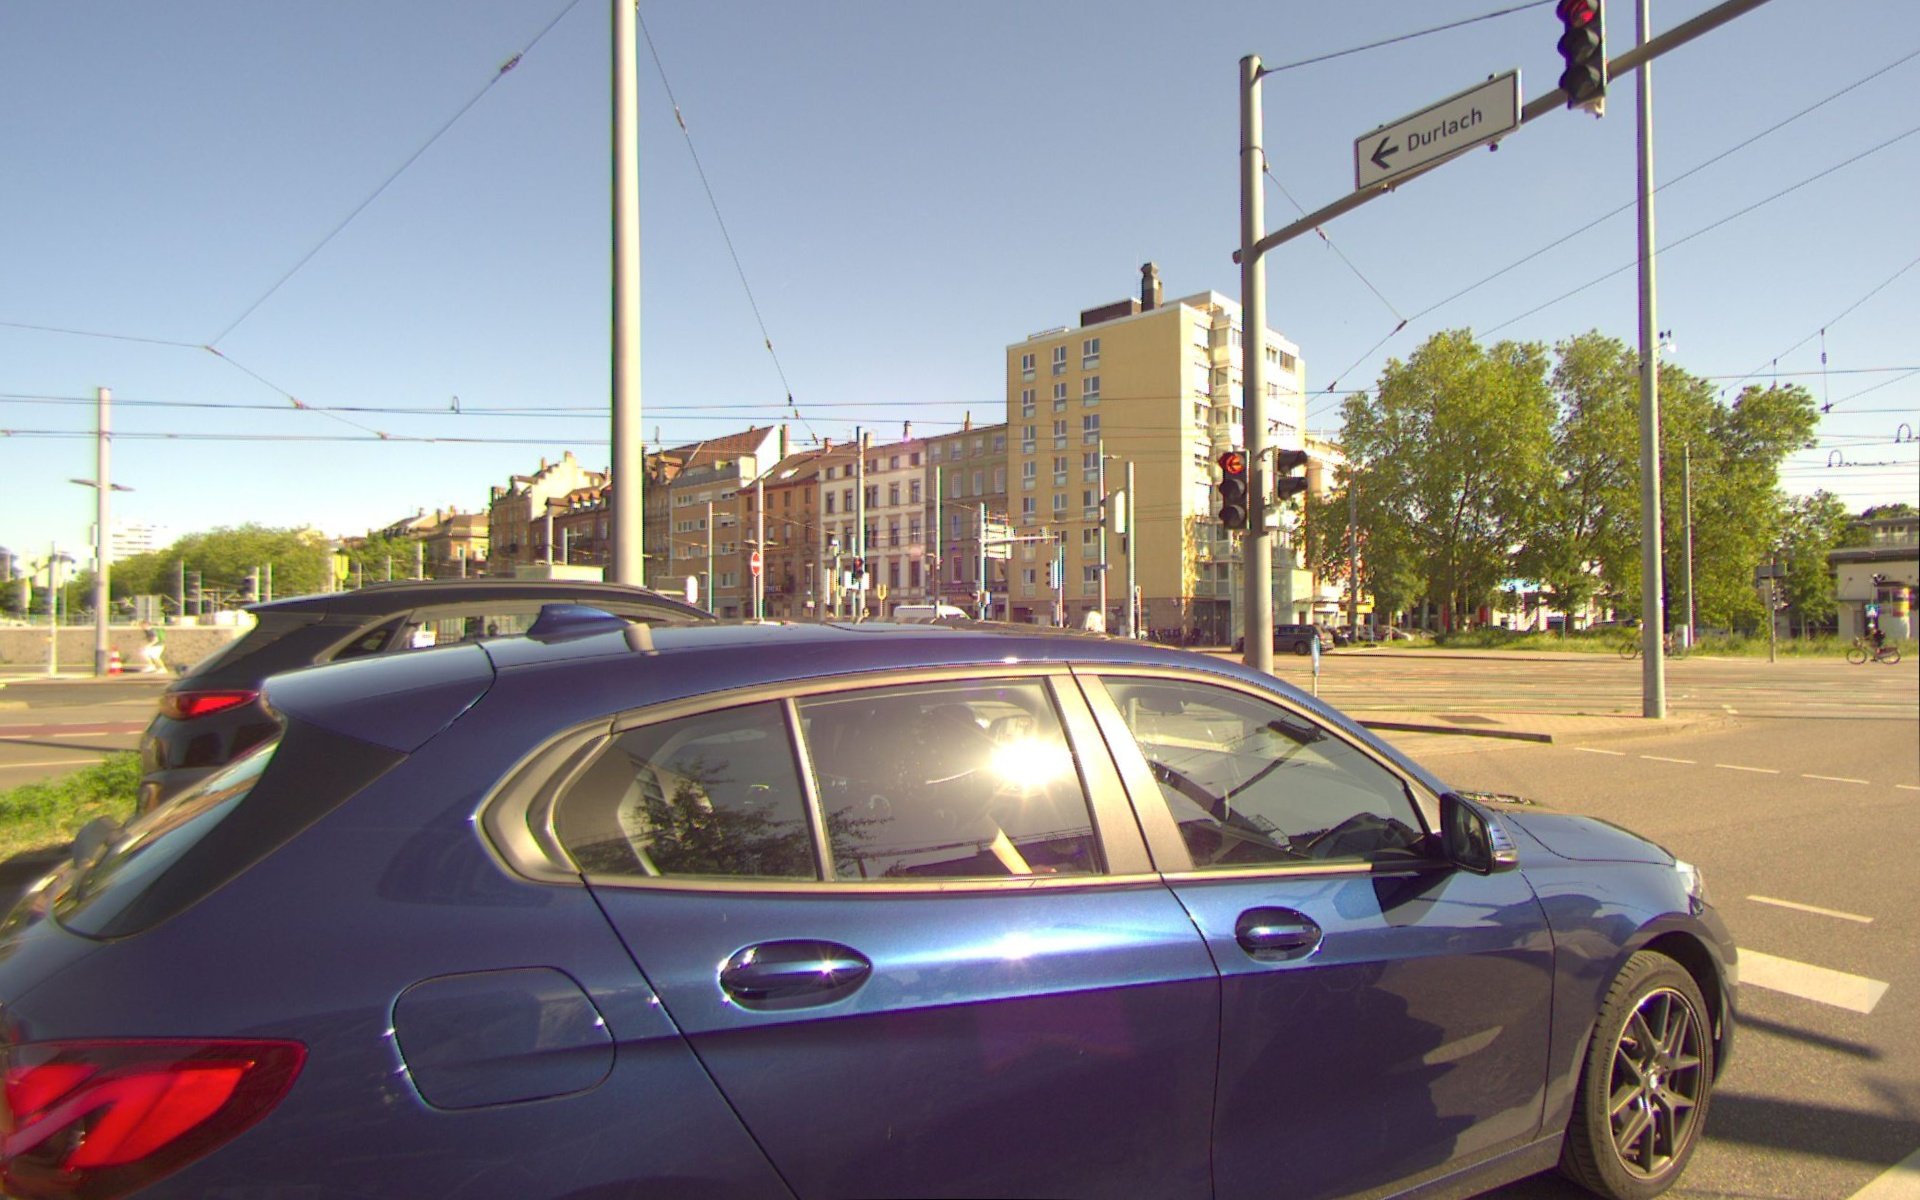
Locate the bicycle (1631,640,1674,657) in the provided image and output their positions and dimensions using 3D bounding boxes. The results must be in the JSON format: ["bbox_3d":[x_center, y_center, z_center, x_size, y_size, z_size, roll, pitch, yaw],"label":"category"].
[{"bbox_3d":[31.919,2.221,46.309,1.610,0.727,0.422,-1,-2,41],"label":"bicycle"}]

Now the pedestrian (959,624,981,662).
[{"bbox_3d":[0.440,1.862,43.659,0.669,1.593,0.740,1,-2,-45],"label":"pedestrian"}]

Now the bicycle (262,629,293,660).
[{"bbox_3d":[-26.809,1.746,39.475,0.461,1.189,1.252,0,-1,-6],"label":"bicycle"}]

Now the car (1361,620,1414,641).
[{"bbox_3d":[35.087,2.521,82.408,3.691,1.684,1.586,-1,-2,42],"label":"car"}]

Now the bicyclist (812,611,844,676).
[{"bbox_3d":[-3.453,1.126,26.284,0.668,1.676,0.781,0,-1,-20],"label":"bicyclist"}]

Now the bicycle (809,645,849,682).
[{"bbox_3d":[-3.419,1.633,26.154,0.668,0.890,1.890,0,-1,-19],"label":"bicycle"}]

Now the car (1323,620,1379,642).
[{"bbox_3d":[30.097,2.398,77.377,3.691,1.684,1.586,-1,-2,42],"label":"car"}]

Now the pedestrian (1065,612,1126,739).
[{"bbox_3d":[1.719,0.944,12.736,0.746,1.575,0.358,0,-1,8],"label":"pedestrian"}]

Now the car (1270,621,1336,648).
[{"bbox_3d":[21.797,2.179,63.874,3.691,1.684,1.586,-1,-2,42],"label":"car"}]

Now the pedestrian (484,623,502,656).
[{"bbox_3d":[-24.212,2.045,52.117,0.672,1.735,0.793,1,-1,-38],"label":"pedestrian"}]

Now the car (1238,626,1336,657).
[{"bbox_3d":[15.783,1.987,48.591,4.163,1.419,1.849,-1,-2,41],"label":"car"}]

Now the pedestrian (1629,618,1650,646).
[{"bbox_3d":[30.786,1.450,45.496,0.738,1.220,0.422,-1,-1,38],"label":"pedestrian"}]

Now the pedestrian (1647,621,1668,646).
[{"bbox_3d":[32.063,1.550,46.195,0.739,1.142,0.422,-1,-1,41],"label":"pedestrian"}]

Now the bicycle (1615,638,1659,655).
[{"bbox_3d":[30.703,2.096,45.547,1.609,0.769,0.422,-1,-2,38],"label":"bicycle"}]

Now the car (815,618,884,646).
[{"bbox_3d":[-6.868,1.998,62.167,4.244,1.675,1.849,-1,-2,40],"label":"car"}]

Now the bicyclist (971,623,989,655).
[{"bbox_3d":[0.905,1.789,46.414,0.609,1.462,0.614,1,-1,-30],"label":"bicyclist"}]

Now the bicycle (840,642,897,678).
[{"bbox_3d":[-2.453,1.579,26.657,0.672,0.890,1.880,1,-2,-35],"label":"bicycle"}]

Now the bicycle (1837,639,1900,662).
[{"bbox_3d":[38.802,2.149,42.933,1.983,0.925,0.559,-1,-2,43],"label":"bicycle"}]

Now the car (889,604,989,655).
[{"bbox_3d":[-1.148,1.513,52.349,5.341,2.541,1.990,-1,-2,42],"label":"car"}]

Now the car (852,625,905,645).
[{"bbox_3d":[-6.010,2.569,74.581,1.749,1.446,3.863,-1,-2,39],"label":"car"}]

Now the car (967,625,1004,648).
[{"bbox_3d":[1.661,2.410,67.127,1.745,1.446,3.873,0,-1,-10],"label":"car"}]

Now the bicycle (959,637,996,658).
[{"bbox_3d":[0.817,2.195,46.348,1.666,0.958,0.614,1,-1,-30],"label":"bicycle"}]

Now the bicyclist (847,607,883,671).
[{"bbox_3d":[-2.546,1.033,26.813,0.672,1.676,0.777,1,-1,-35],"label":"bicyclist"}]

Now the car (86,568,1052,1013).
[{"bbox_3d":[-1.660,0.690,5.185,3.959,1.537,1.751,1,-1,-28],"label":"car"}]

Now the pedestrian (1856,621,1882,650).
[{"bbox_3d":[38.834,1.522,42.912,0.785,1.220,0.557,-1,-2,43],"label":"pedestrian"}]

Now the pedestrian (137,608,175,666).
[{"bbox_3d":[-26.565,1.229,33.202,0.872,1.879,0.683,1,-1,-30],"label":"pedestrian"}]

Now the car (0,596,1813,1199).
[{"bbox_3d":[0.314,0.766,2.646,3.984,1.464,1.703,1,0,-30],"label":"car"}]
